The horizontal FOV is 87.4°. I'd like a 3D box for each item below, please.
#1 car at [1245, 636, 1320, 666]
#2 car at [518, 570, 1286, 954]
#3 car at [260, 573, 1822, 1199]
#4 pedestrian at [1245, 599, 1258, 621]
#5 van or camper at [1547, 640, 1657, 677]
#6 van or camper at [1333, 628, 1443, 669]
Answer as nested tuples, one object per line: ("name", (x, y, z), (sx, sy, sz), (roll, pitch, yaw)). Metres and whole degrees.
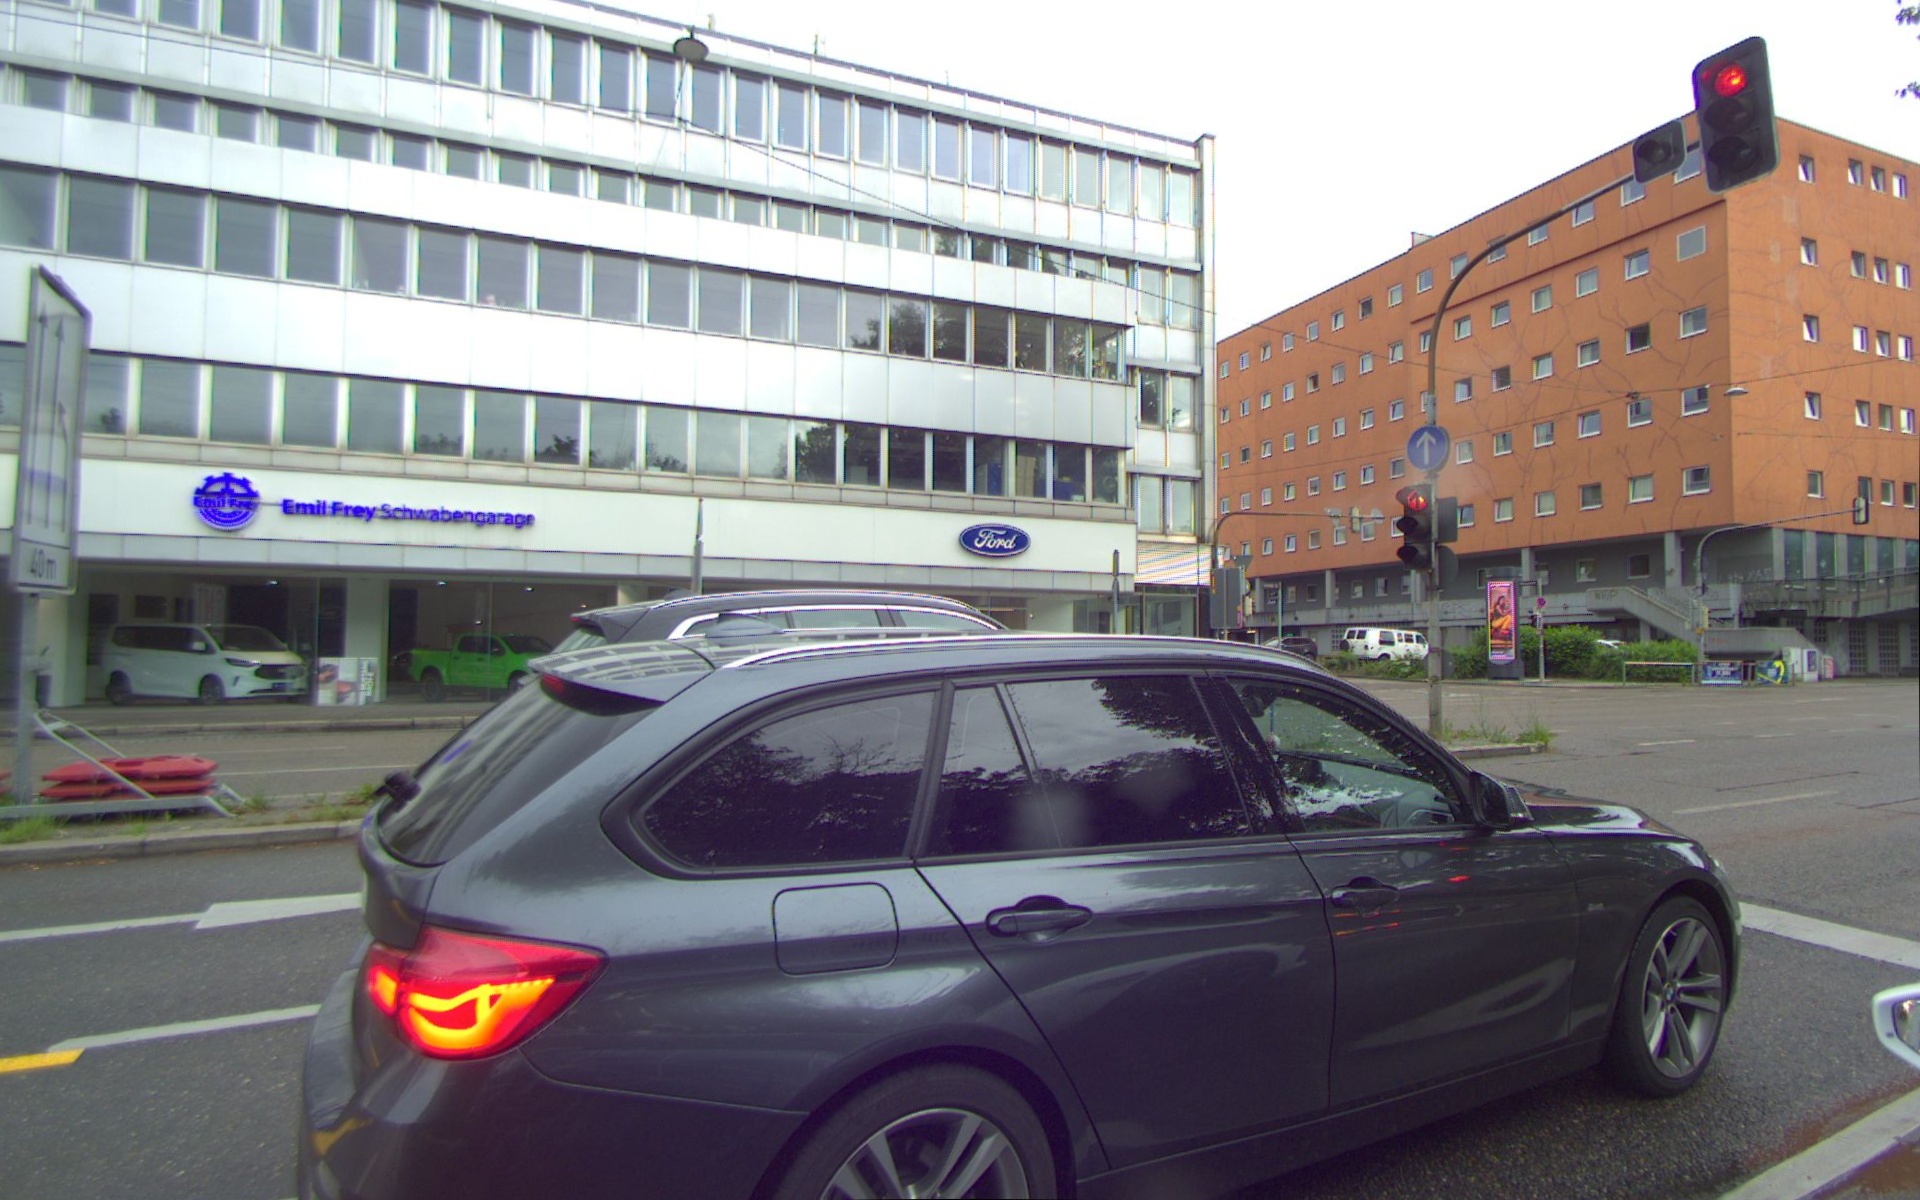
("car", (18.969, 3.000, 59.014), (4.027, 1.633, 1.706), (2, 0, -23))
("car", (-0.271, 0.764, 6.224), (4.389, 1.678, 1.802), (2, 0, -28))
("car", (0.612, 0.794, 3.147), (4.424, 1.477, 1.769), (2, -3, -30))
("pedestrian", (25.056, 0.858, 86.470), (0.714, 1.864, 0.761), (2, 0, -21))
("van or camper", (29.868, 2.685, 46.865), (1.887, 1.648, 3.978), (1, -2, -23))
("van or camper", (22.303, 2.522, 52.356), (5.376, 2.004, 2.121), (2, 0, -23))
